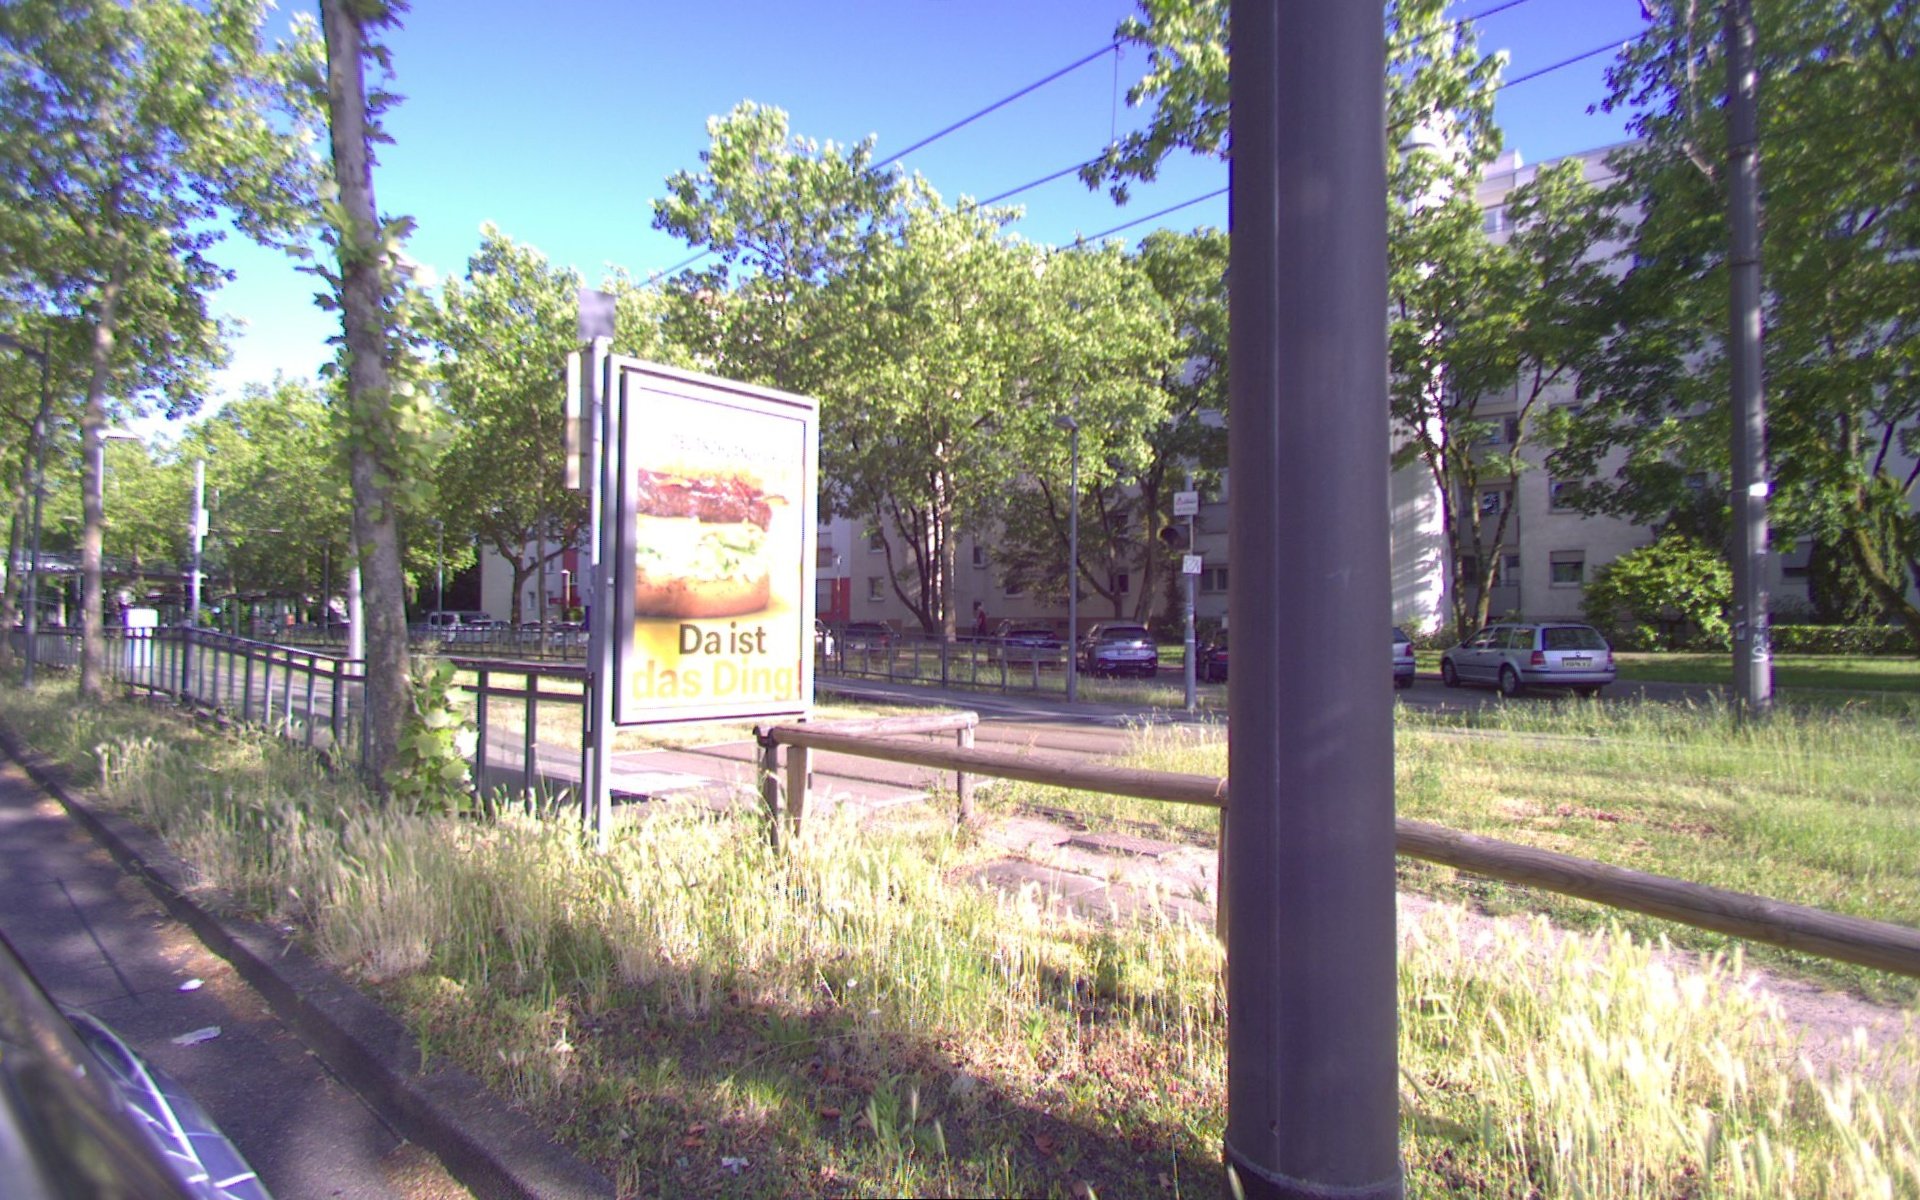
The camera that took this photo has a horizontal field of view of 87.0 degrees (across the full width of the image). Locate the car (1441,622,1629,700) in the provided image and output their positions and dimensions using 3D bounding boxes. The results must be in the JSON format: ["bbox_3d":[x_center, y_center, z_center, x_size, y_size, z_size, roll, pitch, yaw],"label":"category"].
[{"bbox_3d":[11.549,1.175,20.626,1.707,1.444,3.681,0,-1,1],"label":"car"}]

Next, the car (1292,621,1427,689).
[{"bbox_3d":[9.155,1.218,23.525,1.679,1.444,3.681,0,-1,1],"label":"car"}]

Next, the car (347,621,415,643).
[{"bbox_3d":[-37.980,2.103,66.532,1.898,1.386,4.365,0,-1,1],"label":"car"}]

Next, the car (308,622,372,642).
[{"bbox_3d":[-44.644,2.281,72.981,1.898,1.386,4.365,0,-1,1],"label":"car"}]

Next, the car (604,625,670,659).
[{"bbox_3d":[-14.082,1.818,44.278,1.627,1.403,3.679,0,-1,2],"label":"car"}]

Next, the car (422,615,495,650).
[{"bbox_3d":[-28.326,1.825,57.325,1.898,1.898,4.365,0,-1,1],"label":"car"}]

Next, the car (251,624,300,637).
[{"bbox_3d":[-72.364,3.227,107.076,1.617,1.353,3.982,-1,-1,32],"label":"car"}]

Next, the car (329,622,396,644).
[{"bbox_3d":[-40.282,2.203,68.388,1.898,1.386,4.365,0,-1,1],"label":"car"}]

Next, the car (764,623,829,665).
[{"bbox_3d":[-5.908,1.570,36.916,1.664,1.444,3.679,0,-1,2],"label":"car"}]

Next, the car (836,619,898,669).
[{"bbox_3d":[-3.106,1.457,34.466,1.664,1.579,3.679,0,-1,2],"label":"car"}]

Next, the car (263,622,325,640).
[{"bbox_3d":[-52.145,2.403,79.361,1.898,1.386,4.365,0,-1,1],"label":"car"}]

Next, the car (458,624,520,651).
[{"bbox_3d":[-25.797,2.034,55.516,1.627,1.407,3.680,0,-1,1],"label":"car"}]

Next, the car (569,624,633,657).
[{"bbox_3d":[-16.681,1.841,47.134,1.627,1.460,3.680,0,-1,1],"label":"car"}]

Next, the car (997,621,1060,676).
[{"bbox_3d":[1.935,1.367,29.444,1.664,1.482,3.680,0,-1,1],"label":"car"}]

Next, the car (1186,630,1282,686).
[{"bbox_3d":[6.731,1.400,25.205,1.602,1.256,3.677,0,-1,4],"label":"car"}]

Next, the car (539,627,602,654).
[{"bbox_3d":[-19.045,1.980,49.664,1.627,1.251,3.680,0,-1,1],"label":"car"}]

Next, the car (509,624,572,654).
[{"bbox_3d":[-21.122,1.958,51.131,1.627,1.460,3.680,0,-1,1],"label":"car"}]

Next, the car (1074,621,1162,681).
[{"bbox_3d":[4.208,1.345,27.491,1.894,1.507,3.680,0,-1,2],"label":"car"}]
